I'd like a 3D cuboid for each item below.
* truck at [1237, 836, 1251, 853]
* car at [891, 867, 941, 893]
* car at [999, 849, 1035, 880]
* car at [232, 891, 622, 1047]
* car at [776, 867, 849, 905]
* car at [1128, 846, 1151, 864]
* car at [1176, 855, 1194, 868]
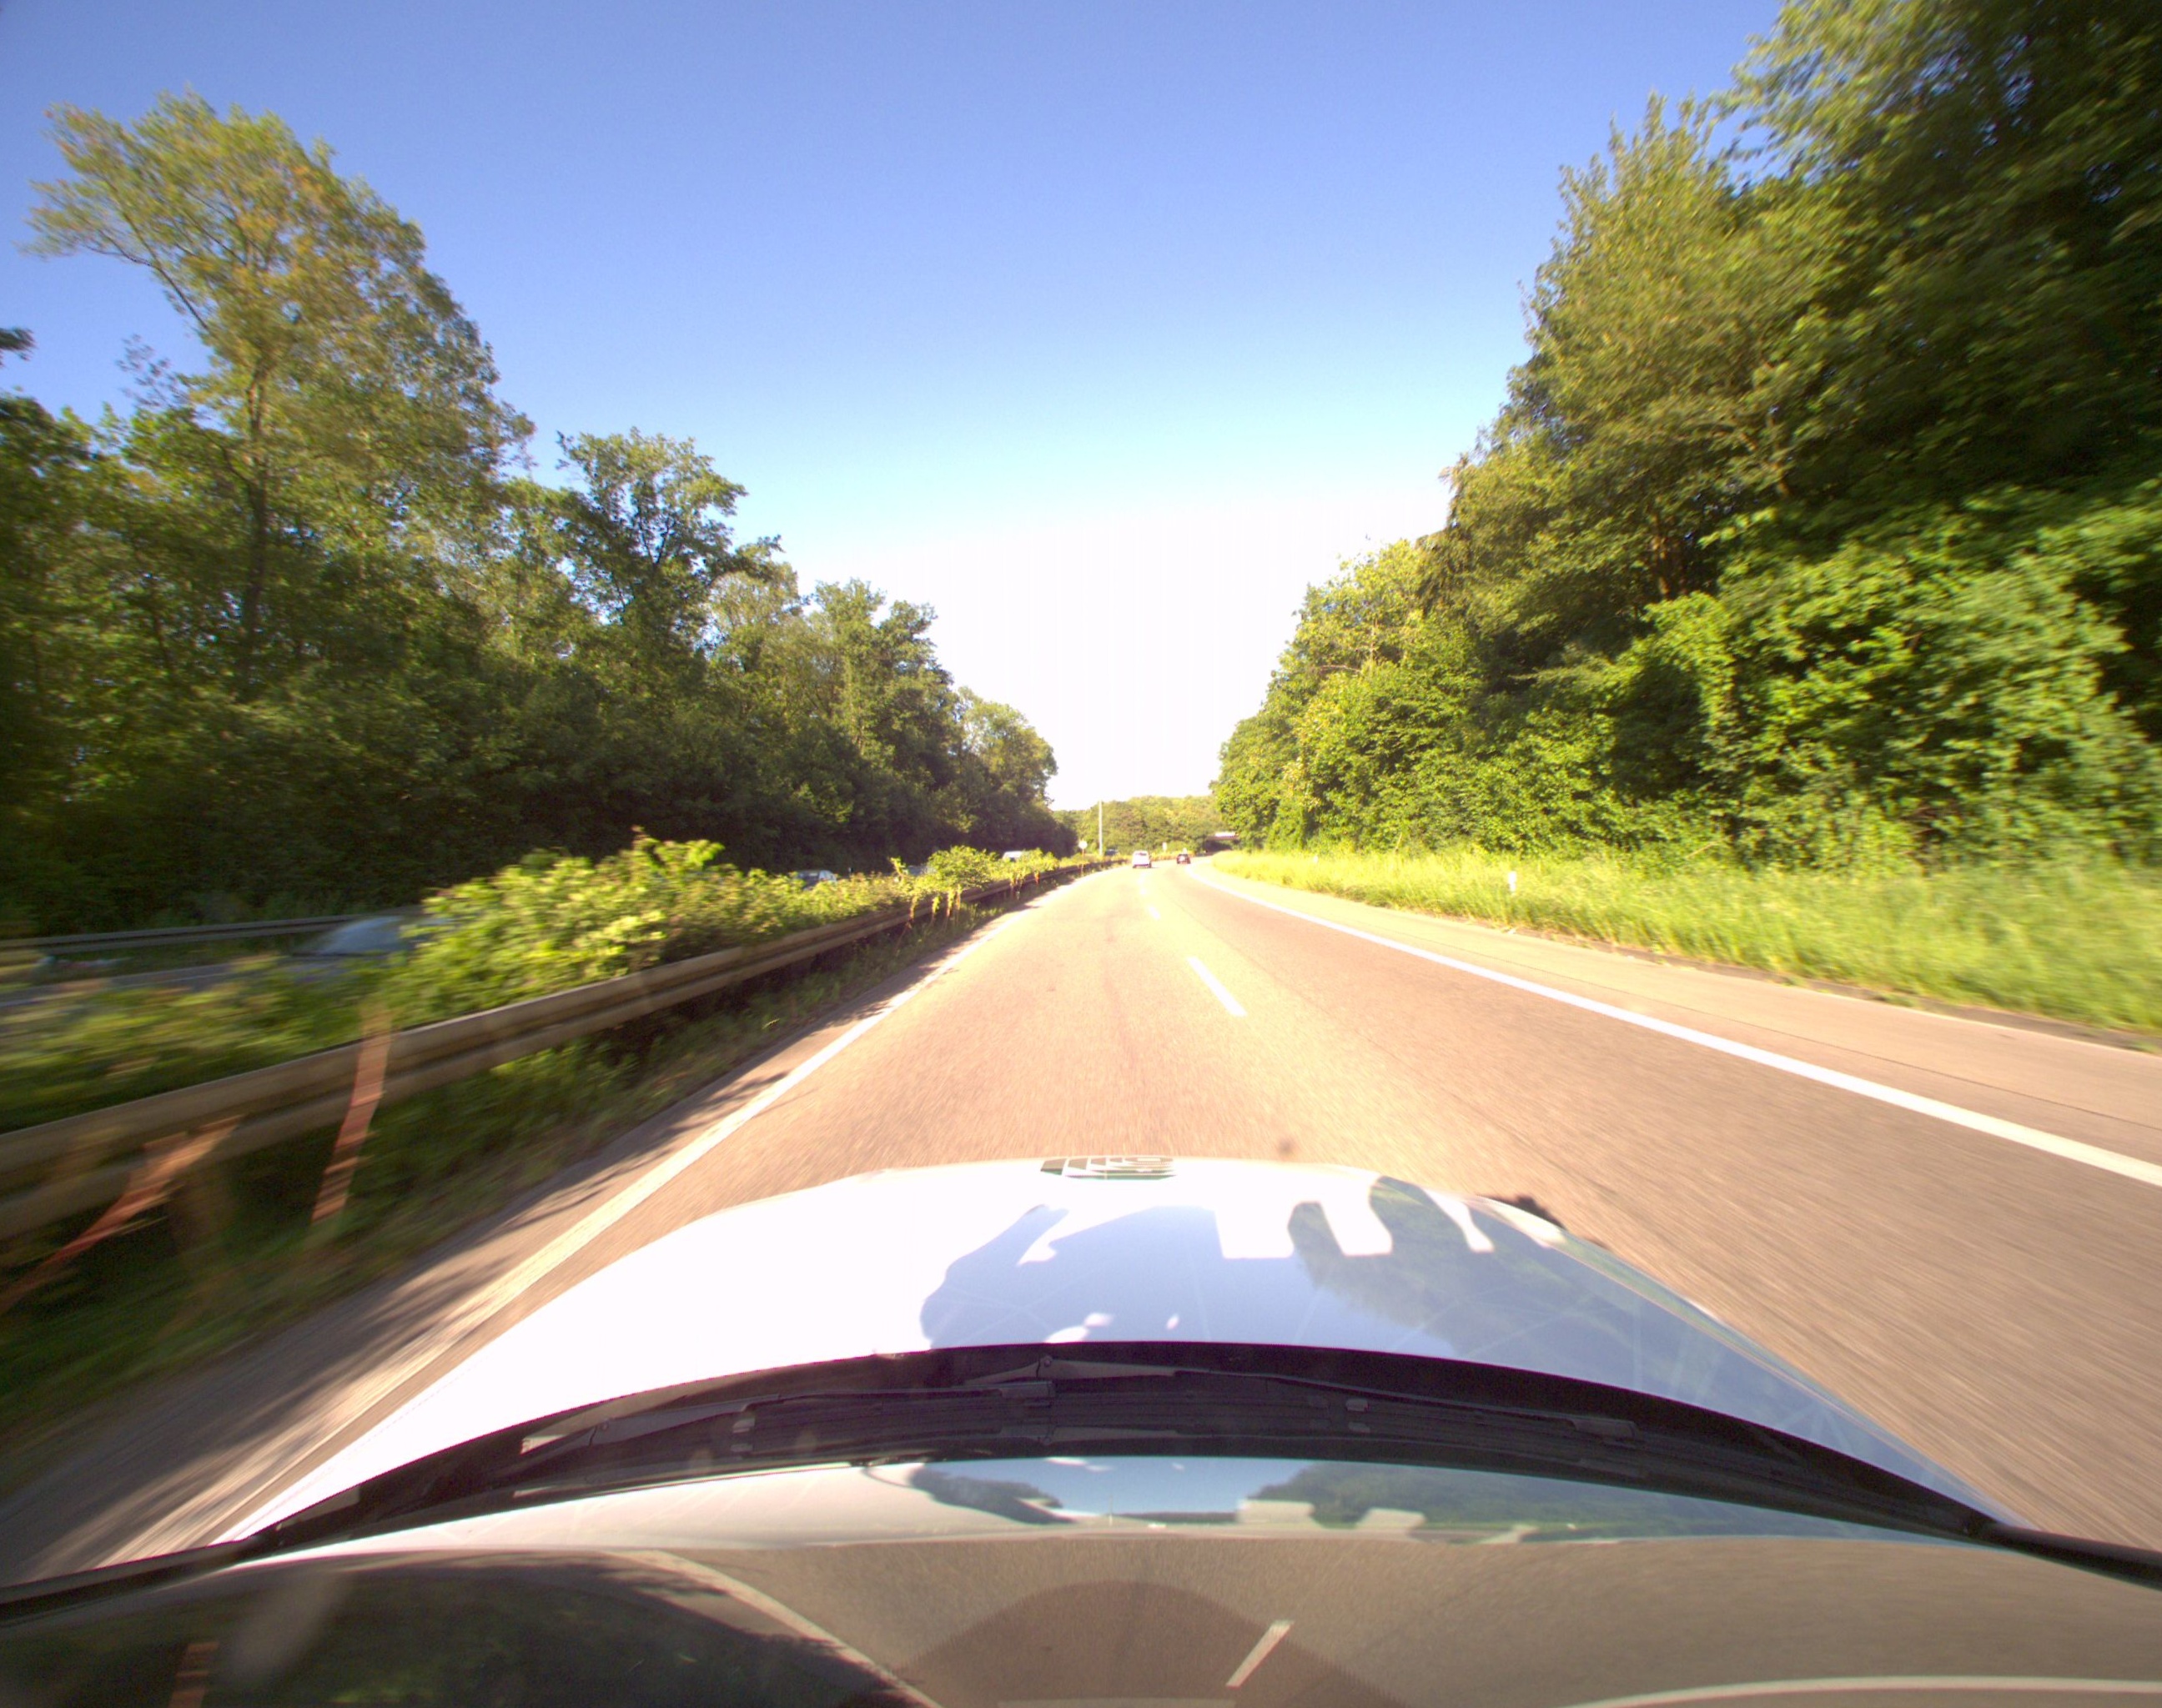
[{"bbox_3d":[45.181,-2.512,225.211,3.710,4.343,9.333,-1,-1,11],"label":"truck"},{"bbox_3d":[-9.789,1.506,48.586,1.754,1.424,4.783,-1,-1,3],"label":"car"},{"bbox_3d":[-4.883,0.791,63.211,1.906,2.253,5.791,-1,-1,4],"label":"car"},{"bbox_3d":[-7.945,1.295,10.489,1.700,1.457,4.001,-1,-1,2],"label":"car"},{"bbox_3d":[-12.444,1.432,38.087,1.891,1.626,4.503,-1,-1,0],"label":"car"},{"bbox_3d":[6.136,0.150,85.799,1.946,1.782,4.584,-1,-1,-2],"label":"car"},{"bbox_3d":[14.705,1.019,114.642,1.937,1.782,4.606,-1,-1,15],"label":"car"}]
